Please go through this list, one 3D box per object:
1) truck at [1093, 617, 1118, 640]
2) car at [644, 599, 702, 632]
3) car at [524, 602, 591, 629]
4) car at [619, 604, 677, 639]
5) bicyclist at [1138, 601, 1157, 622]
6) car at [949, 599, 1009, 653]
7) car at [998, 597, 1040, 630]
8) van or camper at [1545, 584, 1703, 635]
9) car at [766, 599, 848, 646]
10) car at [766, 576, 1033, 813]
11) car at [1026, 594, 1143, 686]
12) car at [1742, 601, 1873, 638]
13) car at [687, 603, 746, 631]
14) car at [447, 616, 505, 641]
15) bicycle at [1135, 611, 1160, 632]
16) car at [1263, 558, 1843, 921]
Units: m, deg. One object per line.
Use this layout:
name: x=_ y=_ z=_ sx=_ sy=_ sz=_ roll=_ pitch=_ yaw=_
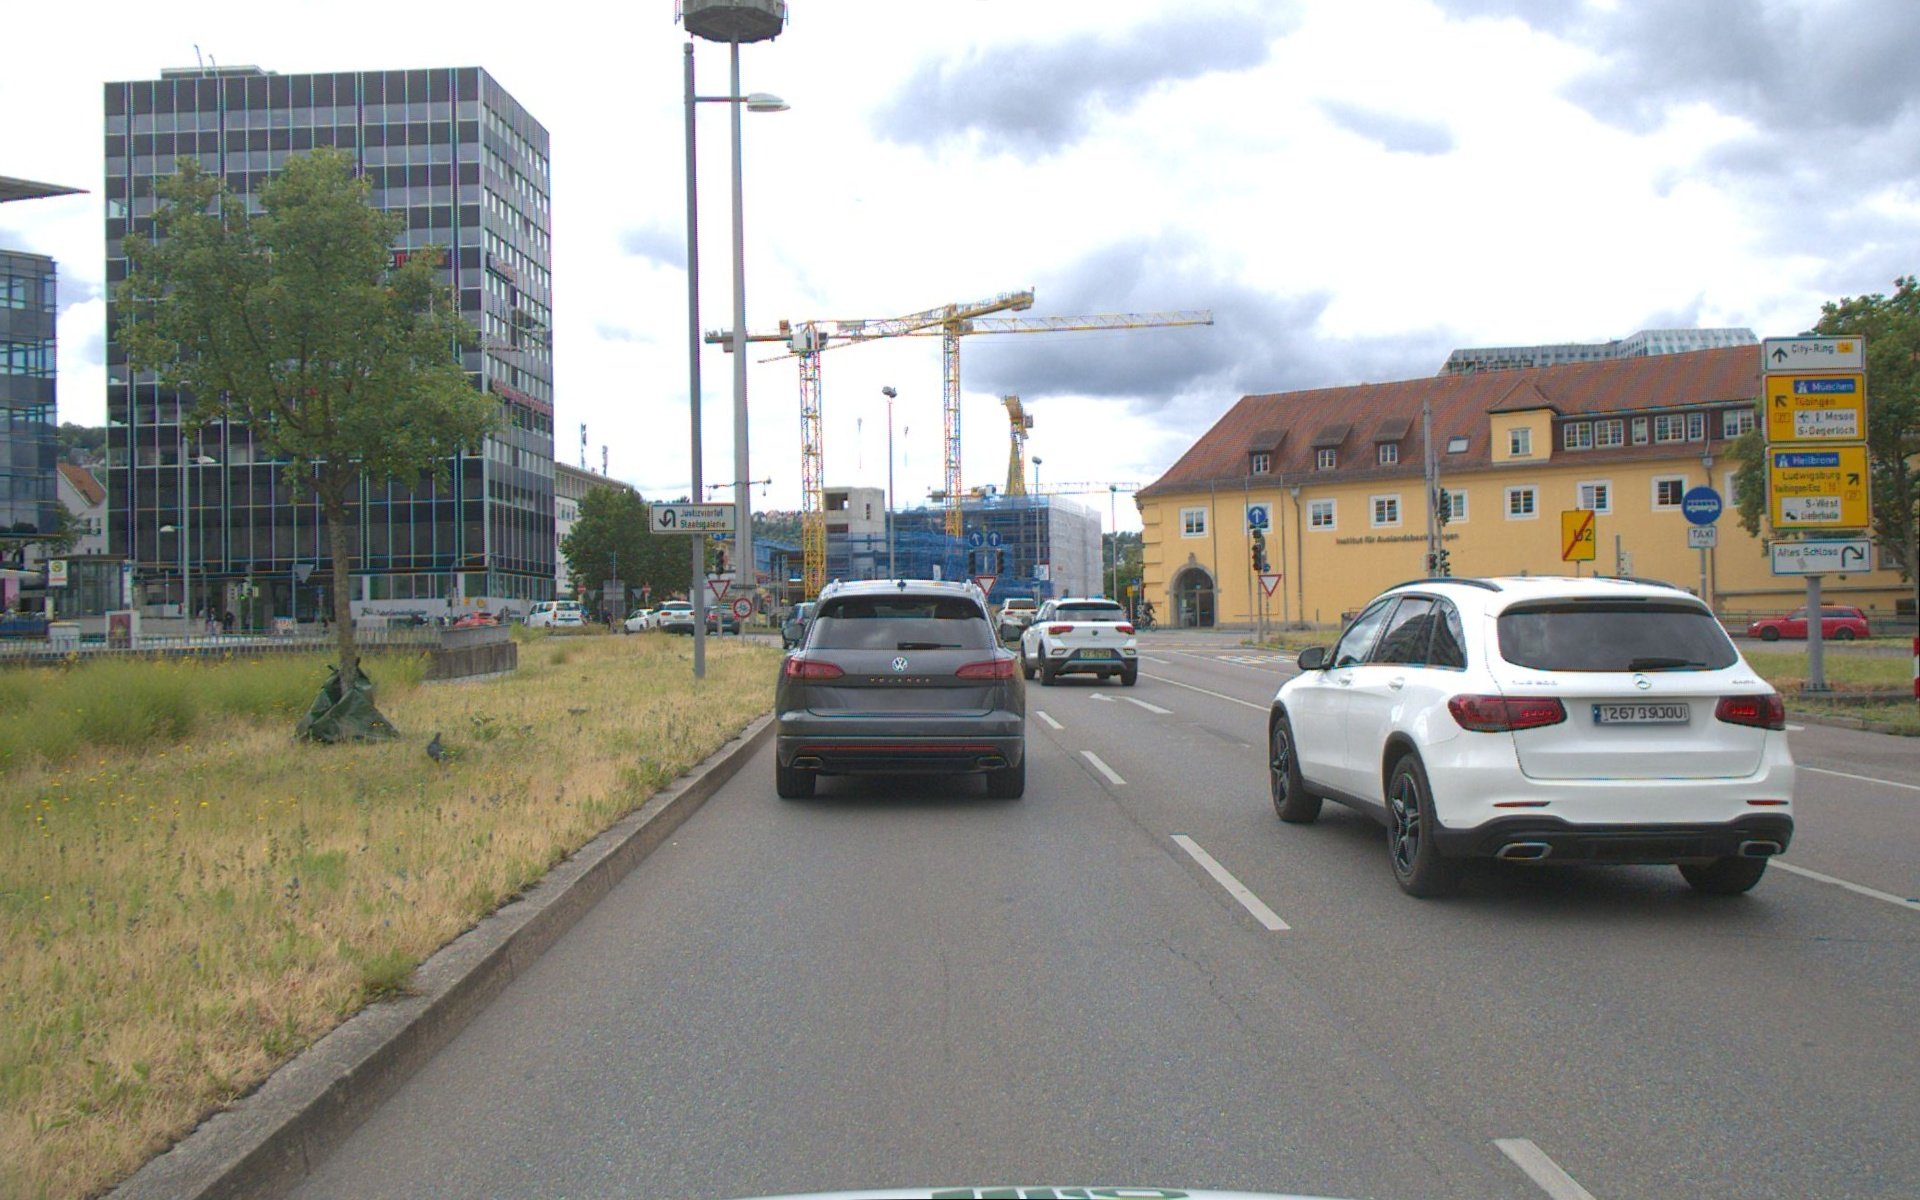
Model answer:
truck: x=16.544 y=3.227 z=187.753 sx=2.082 sy=2.496 sz=4.831 roll=0 pitch=0 yaw=14
car: x=-13.713 y=0.714 z=78.868 sx=1.791 sy=1.522 sz=3.875 roll=0 pitch=0 yaw=-25
car: x=-24.142 y=0.898 z=99.042 sx=2.229 sy=1.529 sz=4.547 roll=0 pitch=0 yaw=-38
car: x=-18.443 y=1.245 z=97.679 sx=1.879 sy=1.638 sz=3.951 roll=-3 pitch=6 yaw=-36
bicyclist: x=10.546 y=0.657 z=93.063 sx=0.905 sy=1.179 sz=0.724 roll=0 pitch=0 yaw=-6
car: x=0.542 y=0.737 z=49.119 sx=1.683 sy=1.529 sz=4.143 roll=0 pitch=0 yaw=0
car: x=2.789 y=0.621 z=78.785 sx=1.766 sy=1.529 sz=3.980 roll=0 pitch=0 yaw=-1
van or camper: x=28.016 y=0.416 z=69.868 sx=5.901 sy=2.049 sz=2.013 roll=-1 pitch=-1 yaw=35
car: x=-4.860 y=0.691 z=52.006 sx=1.765 sy=1.380 sz=4.050 roll=0 pitch=0 yaw=-17
car: x=-0.470 y=0.659 z=13.782 sx=1.894 sy=1.676 sz=3.999 roll=0 pitch=0 yaw=-1
car: x=2.287 y=0.708 z=31.182 sx=1.855 sy=1.613 sz=3.800 roll=0 pitch=0 yaw=-1
car: x=33.820 y=0.776 z=66.043 sx=4.591 sy=1.445 sz=1.593 roll=-1 pitch=-1 yaw=31
car: x=-12.594 y=0.883 z=85.505 sx=1.626 sy=1.421 sz=3.553 roll=0 pitch=0 yaw=-35
car: x=-31.161 y=1.826 z=106.377 sx=3.906 sy=1.529 sz=1.716 roll=0 pitch=0 yaw=40
bicycle: x=10.543 y=1.212 z=93.056 sx=0.905 sy=1.179 sz=2.462 roll=0 pitch=0 yaw=-6
car: x=3.165 y=0.634 z=9.882 sx=1.782 sy=1.676 sz=4.377 roll=0 pitch=0 yaw=-2
